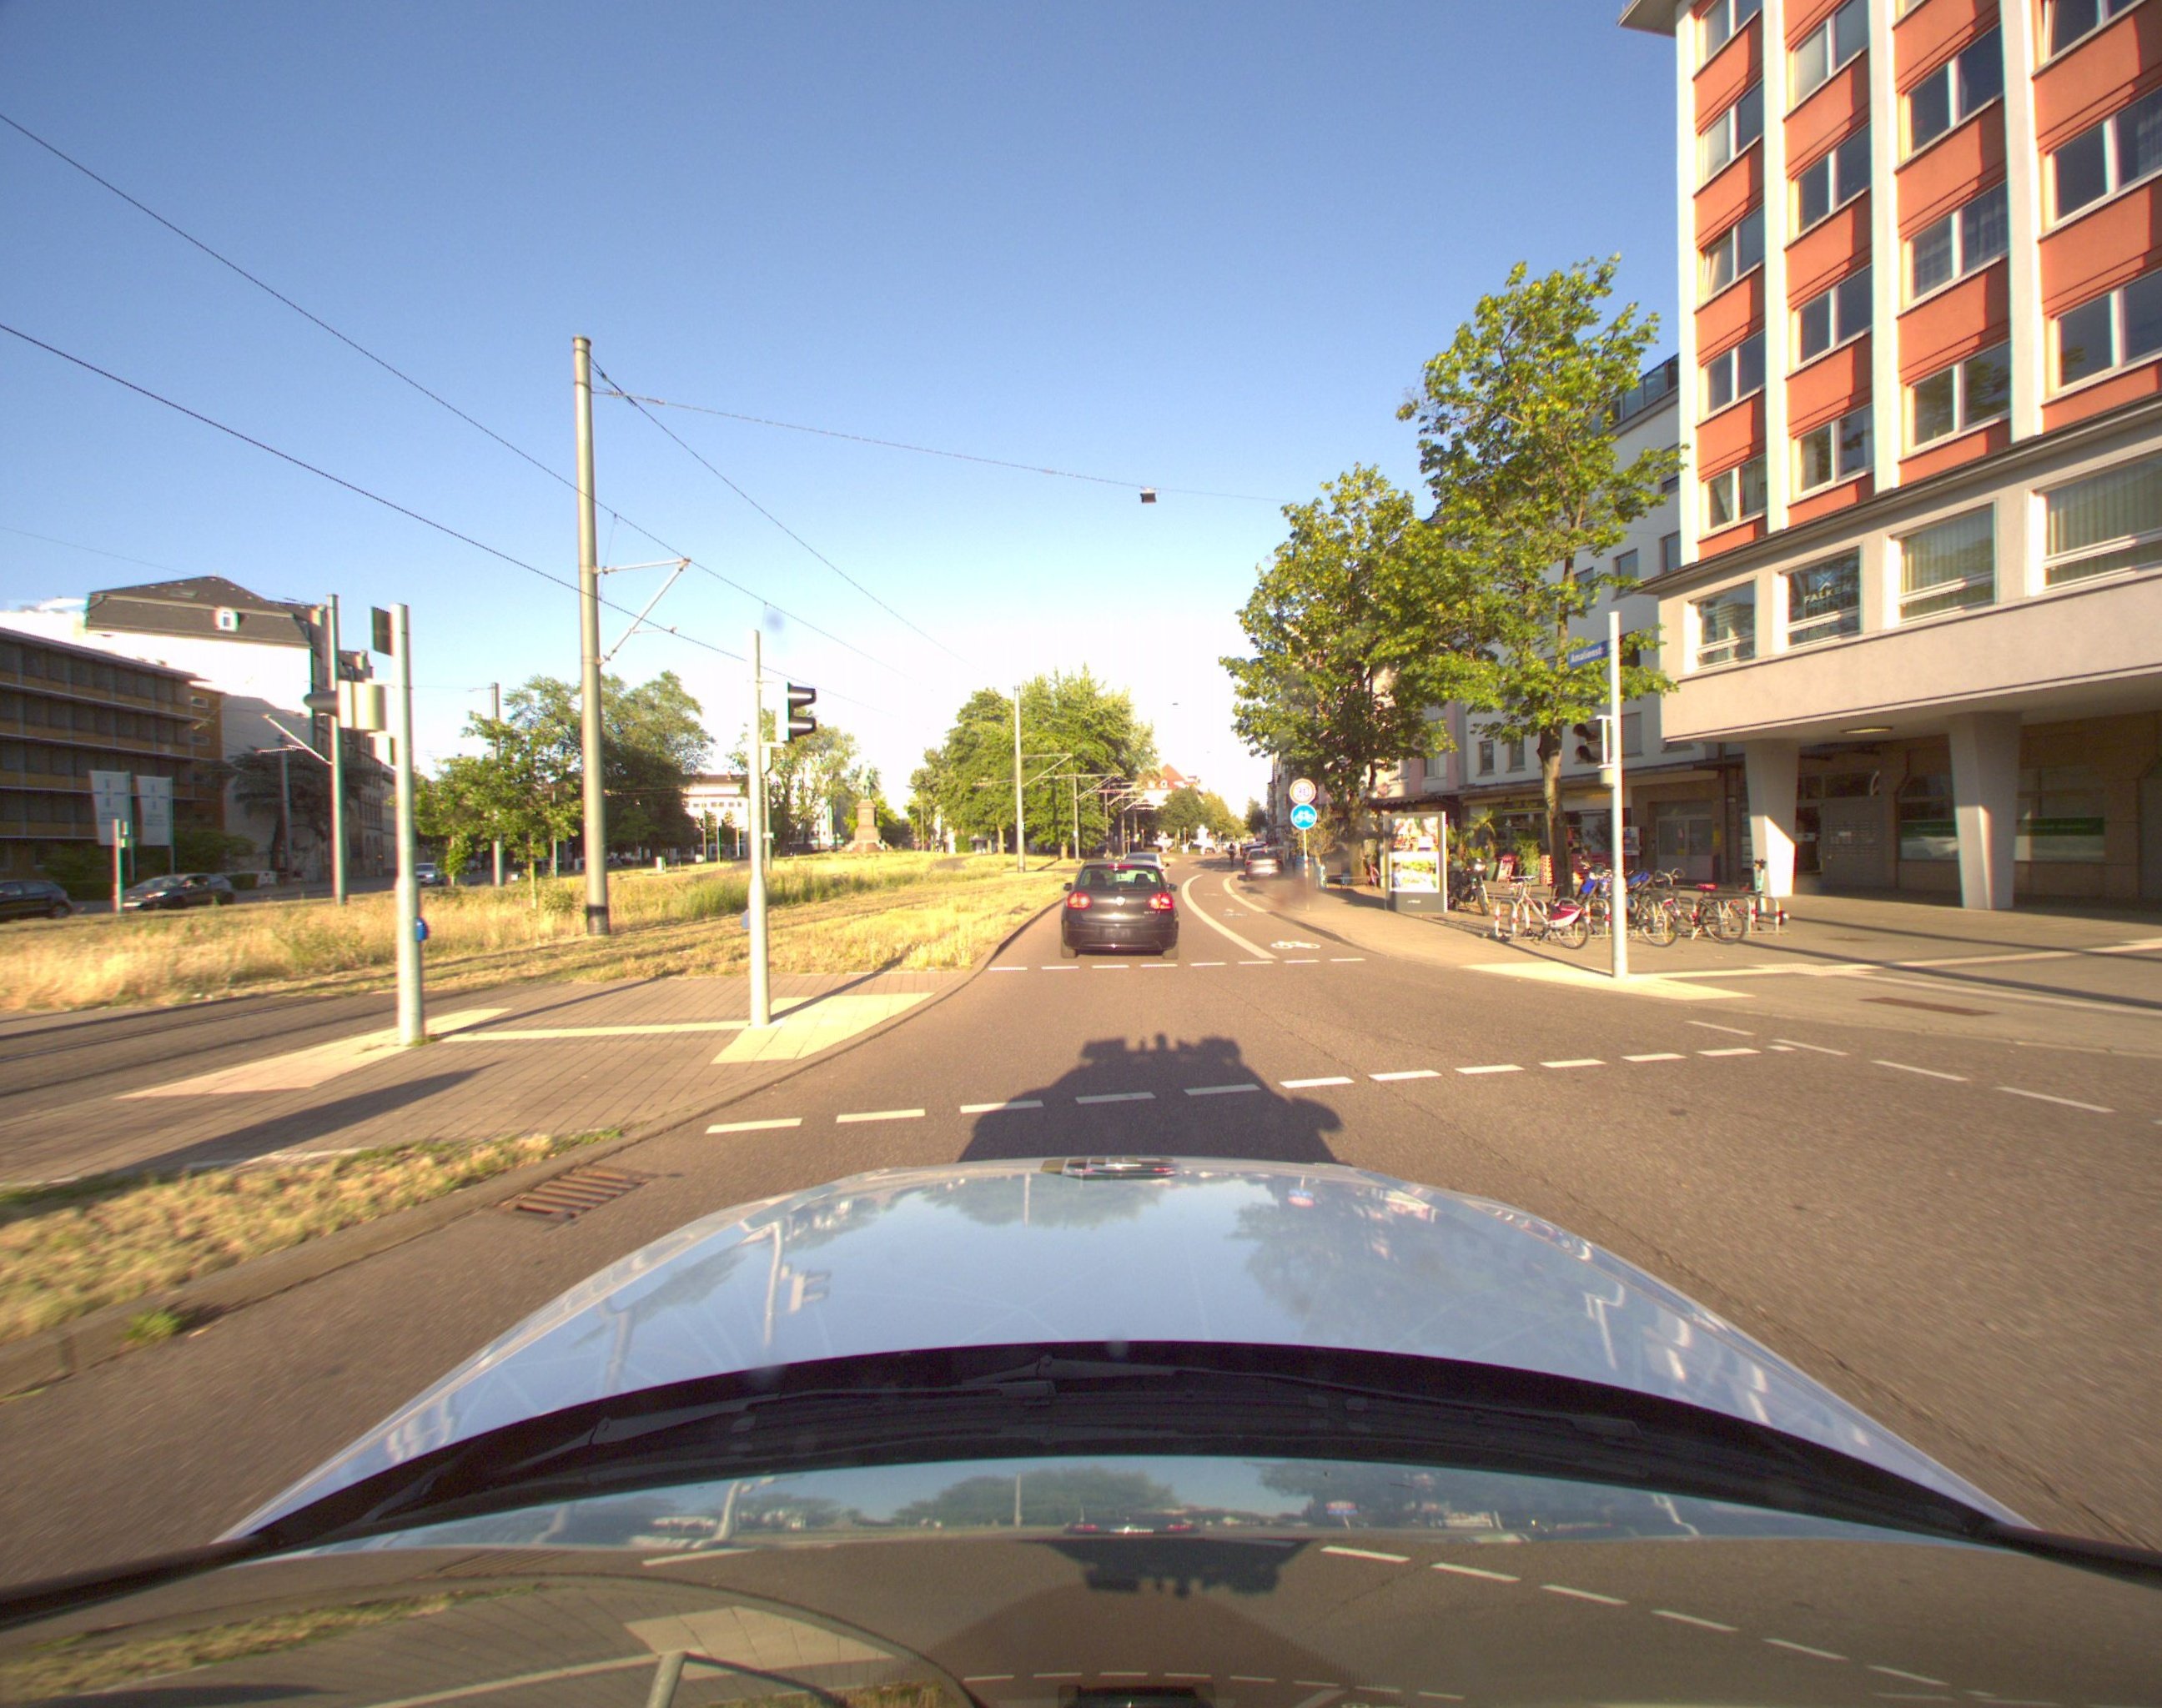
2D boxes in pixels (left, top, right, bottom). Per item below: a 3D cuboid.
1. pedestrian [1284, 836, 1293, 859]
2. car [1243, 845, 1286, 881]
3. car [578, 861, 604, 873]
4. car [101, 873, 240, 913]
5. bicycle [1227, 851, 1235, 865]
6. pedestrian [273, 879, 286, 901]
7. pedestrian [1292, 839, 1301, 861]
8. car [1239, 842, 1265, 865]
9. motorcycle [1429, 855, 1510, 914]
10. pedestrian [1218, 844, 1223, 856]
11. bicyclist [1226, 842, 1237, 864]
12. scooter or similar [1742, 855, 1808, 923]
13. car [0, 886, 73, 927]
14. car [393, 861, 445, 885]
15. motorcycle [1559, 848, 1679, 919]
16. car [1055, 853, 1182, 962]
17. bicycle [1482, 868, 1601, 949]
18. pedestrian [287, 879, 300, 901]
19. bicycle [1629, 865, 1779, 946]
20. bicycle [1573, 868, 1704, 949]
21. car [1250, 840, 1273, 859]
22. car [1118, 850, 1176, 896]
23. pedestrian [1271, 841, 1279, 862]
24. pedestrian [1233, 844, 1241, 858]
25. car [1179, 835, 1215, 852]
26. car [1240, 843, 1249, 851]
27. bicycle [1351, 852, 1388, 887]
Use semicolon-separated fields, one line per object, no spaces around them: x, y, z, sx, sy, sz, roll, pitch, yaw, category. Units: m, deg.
17.251;-0.509;67.736;0.618;1.858;0.664;-4;-1;13;pedestrian
8.366;0.374;37.324;1.717;1.472;3.912;-4;0;11;car
-61.207;1.591;101.828;1.567;1.258;3.714;-3;1;-12;car
-35.192;1.483;31.632;1.647;1.281;3.726;-1;1;-11;car
11.145;0.309;60.434;0.575;0.987;1.942;0;0;12;bicycle
-54.816;2.461;55.706;0.414;1.430;0.483;-2;1;-12;pedestrian
17.844;-0.349;67.537;0.618;1.740;0.664;-4;-1;13;pedestrian
13.111;-0.053;62.432;1.769;1.556;4.250;-4;0;13;car
8.916;0.671;18.817;0.665;1.242;2.197;-1;1;-5;motorcycle
19.485;-0.544;113.749;0.731;1.555;0.633;-1;0;9;pedestrian
11.153;-0.090;60.413;0.772;1.618;1.028;0;0;12;bicyclist
13.604;0.660;15.985;0.413;1.254;1.185;-1;1;8;scooter or similar
-33.780;1.659;25.072;1.522;1.153;3.583;-1;1;-13;car
-45.018;1.287;55.487;1.780;1.482;4.272;-2;1;-26;car
11.208;0.599;16.992;2.040;1.406;0.759;-1;0;-4;motorcycle
0.607;0.744;13.341;1.740;1.461;4.106;-1;0;2;car
7.362;0.832;13.137;0.644;1.126;1.868;-1;1;-10;bicycle
-54.088;2.458;55.920;0.414;1.430;0.483;-2;1;-12;pedestrian
10.318;0.807;13.604;0.644;1.157;2.117;-1;1;-9;bicycle
9.037;0.844;13.298;0.644;1.126;1.868;-1;1;-10;bicycle
17.365;-0.427;78.573;1.855;1.713;4.518;-4;0;10;car
2.276;0.630;29.066;1.858;1.441;4.199;-1;1;2;car
16.254;-0.216;68.172;0.574;1.760;0.664;-4;-1;13;pedestrian
19.339;-0.413;100.883;0.855;1.706;0.943;0;0;6;pedestrian
18.996;-1.717;133.225;5.519;2.594;2.144;-1;0;-14;car
36.233;-1.590;180.842;1.894;1.552;4.013;-1;1;12;car
10.118;0.530;28.589;0.420;1.157;1.750;-1;1;-9;bicycle
